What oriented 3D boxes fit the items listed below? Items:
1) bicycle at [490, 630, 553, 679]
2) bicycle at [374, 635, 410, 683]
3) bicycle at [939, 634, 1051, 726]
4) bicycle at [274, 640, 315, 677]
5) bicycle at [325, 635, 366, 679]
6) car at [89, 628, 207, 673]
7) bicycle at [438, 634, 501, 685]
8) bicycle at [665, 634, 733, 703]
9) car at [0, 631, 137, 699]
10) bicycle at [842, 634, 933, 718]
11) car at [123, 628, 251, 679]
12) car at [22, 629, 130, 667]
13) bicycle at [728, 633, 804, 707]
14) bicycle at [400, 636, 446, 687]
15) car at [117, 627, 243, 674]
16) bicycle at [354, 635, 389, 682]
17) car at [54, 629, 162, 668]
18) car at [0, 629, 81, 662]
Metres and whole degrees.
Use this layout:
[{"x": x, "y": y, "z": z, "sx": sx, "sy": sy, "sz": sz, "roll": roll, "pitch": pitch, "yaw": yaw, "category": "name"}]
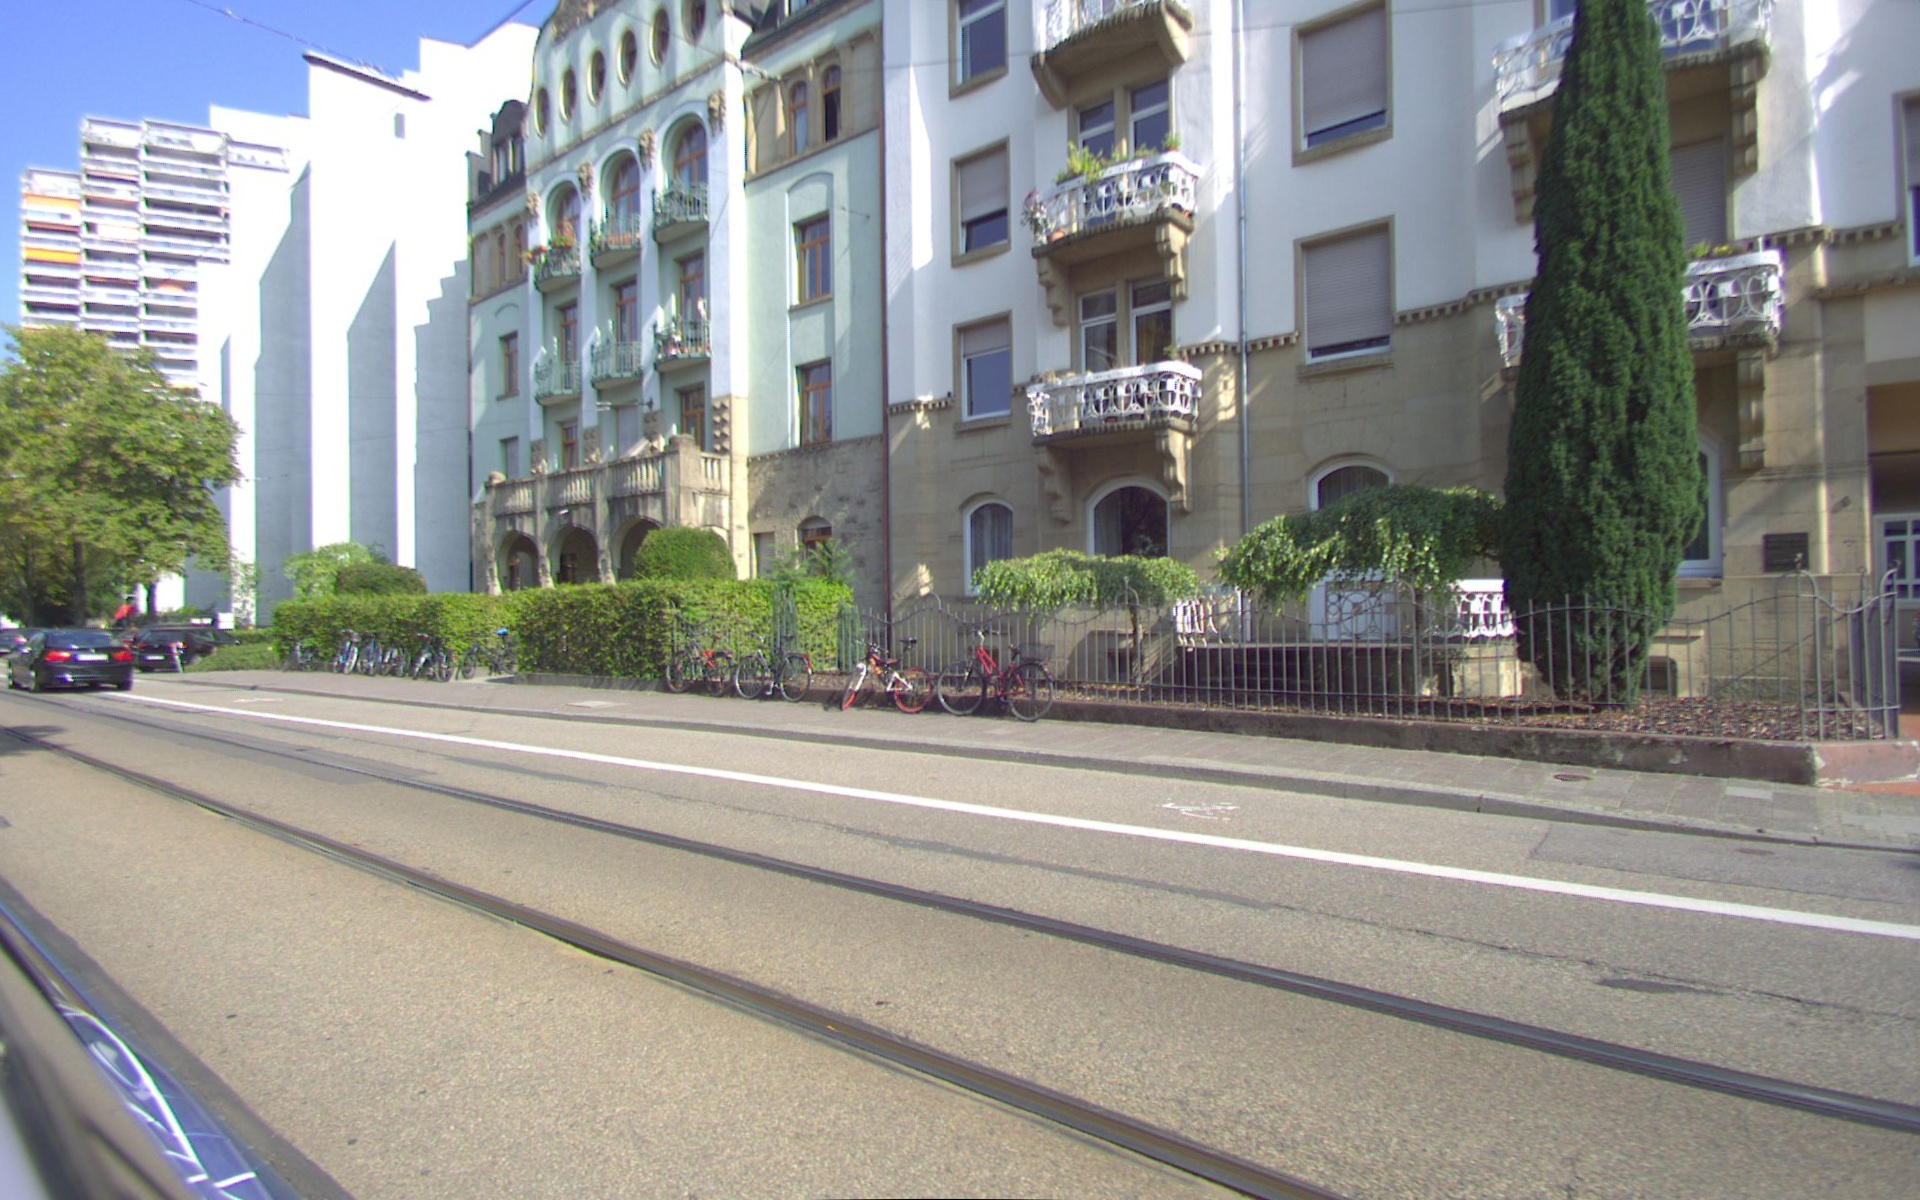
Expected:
[{"x": -10.437, "y": 1.284, "z": 24.108, "sx": 0.425, "sy": 1.096, "sz": 1.338, "roll": -2, "pitch": -2, "yaw": 37, "category": "bicycle"}, {"x": -13.757, "y": 1.412, "z": 24.485, "sx": 0.419, "sy": 1.096, "sz": 1.678, "roll": 0, "pitch": -2, "yaw": -42, "category": "bicycle"}, {"x": 0.419, "y": 0.982, "z": 12.766, "sx": 1.486, "sy": 1.096, "sz": 0.366, "roll": -2, "pitch": -2, "yaw": 39, "category": "bicycle"}, {"x": -18.594, "y": 1.630, "z": 28.273, "sx": 1.768, "sy": 0.985, "sz": 0.420, "roll": -2, "pitch": -2, "yaw": 38, "category": "bicycle"}, {"x": -15.951, "y": 1.460, "z": 26.252, "sx": 1.676, "sy": 1.096, "sz": 0.420, "roll": -2, "pitch": -2, "yaw": 42, "category": "bicycle"}, {"x": -30.444, "y": 1.845, "z": 38.097, "sx": 1.744, "sy": 1.539, "sz": 4.008, "roll": -1, "pitch": -1, "yaw": -10, "category": "car"}, {"x": -11.074, "y": 1.328, "z": 22.879, "sx": 0.423, "sy": 1.096, "sz": 1.386, "roll": -1, "pitch": -1, "yaw": 21, "category": "bicycle"}, {"x": -4.362, "y": 1.121, "z": 16.868, "sx": 1.353, "sy": 1.096, "sz": 0.366, "roll": -2, "pitch": -2, "yaw": 39, "category": "bicycle"}, {"x": -20.705, "y": 1.430, "z": 23.333, "sx": 4.640, "sy": 1.413, "sz": 1.680, "roll": -1, "pitch": -2, "yaw": 38, "category": "car"}, {"x": -1.004, "y": 1.014, "z": 13.825, "sx": 1.353, "sy": 1.096, "sz": 0.366, "roll": -2, "pitch": -2, "yaw": 39, "category": "bicycle"}, {"x": -25.544, "y": 1.730, "z": 33.620, "sx": 1.744, "sy": 1.539, "sz": 4.008, "roll": -1, "pitch": -1, "yaw": -10, "category": "car"}, {"x": -38.637, "y": 2.054, "z": 44.354, "sx": 1.744, "sy": 1.539, "sz": 4.008, "roll": -1, "pitch": -1, "yaw": -10, "category": "car"}, {"x": -3.028, "y": 1.071, "z": 15.706, "sx": 1.353, "sy": 1.096, "sz": 0.366, "roll": -2, "pitch": -2, "yaw": 39, "category": "bicycle"}, {"x": -12.232, "y": 1.379, "z": 23.039, "sx": 1.676, "sy": 1.096, "sz": 0.420, "roll": -2, "pitch": -2, "yaw": 44, "category": "bicycle"}, {"x": -28.036, "y": 1.779, "z": 36.561, "sx": 1.745, "sy": 1.539, "sz": 4.004, "roll": -1, "pitch": -1, "yaw": -5, "category": "car"}, {"x": -14.475, "y": 1.418, "z": 24.882, "sx": 0.419, "sy": 1.096, "sz": 1.678, "roll": 0, "pitch": -2, "yaw": -42, "category": "bicycle"}, {"x": -36.083, "y": 2.019, "z": 42.981, "sx": 1.744, "sy": 1.539, "sz": 4.008, "roll": -1, "pitch": -1, "yaw": -10, "category": "car"}, {"x": -45.614, "y": 2.218, "z": 49.784, "sx": 1.744, "sy": 1.539, "sz": 4.008, "roll": -1, "pitch": -1, "yaw": -10, "category": "car"}]
